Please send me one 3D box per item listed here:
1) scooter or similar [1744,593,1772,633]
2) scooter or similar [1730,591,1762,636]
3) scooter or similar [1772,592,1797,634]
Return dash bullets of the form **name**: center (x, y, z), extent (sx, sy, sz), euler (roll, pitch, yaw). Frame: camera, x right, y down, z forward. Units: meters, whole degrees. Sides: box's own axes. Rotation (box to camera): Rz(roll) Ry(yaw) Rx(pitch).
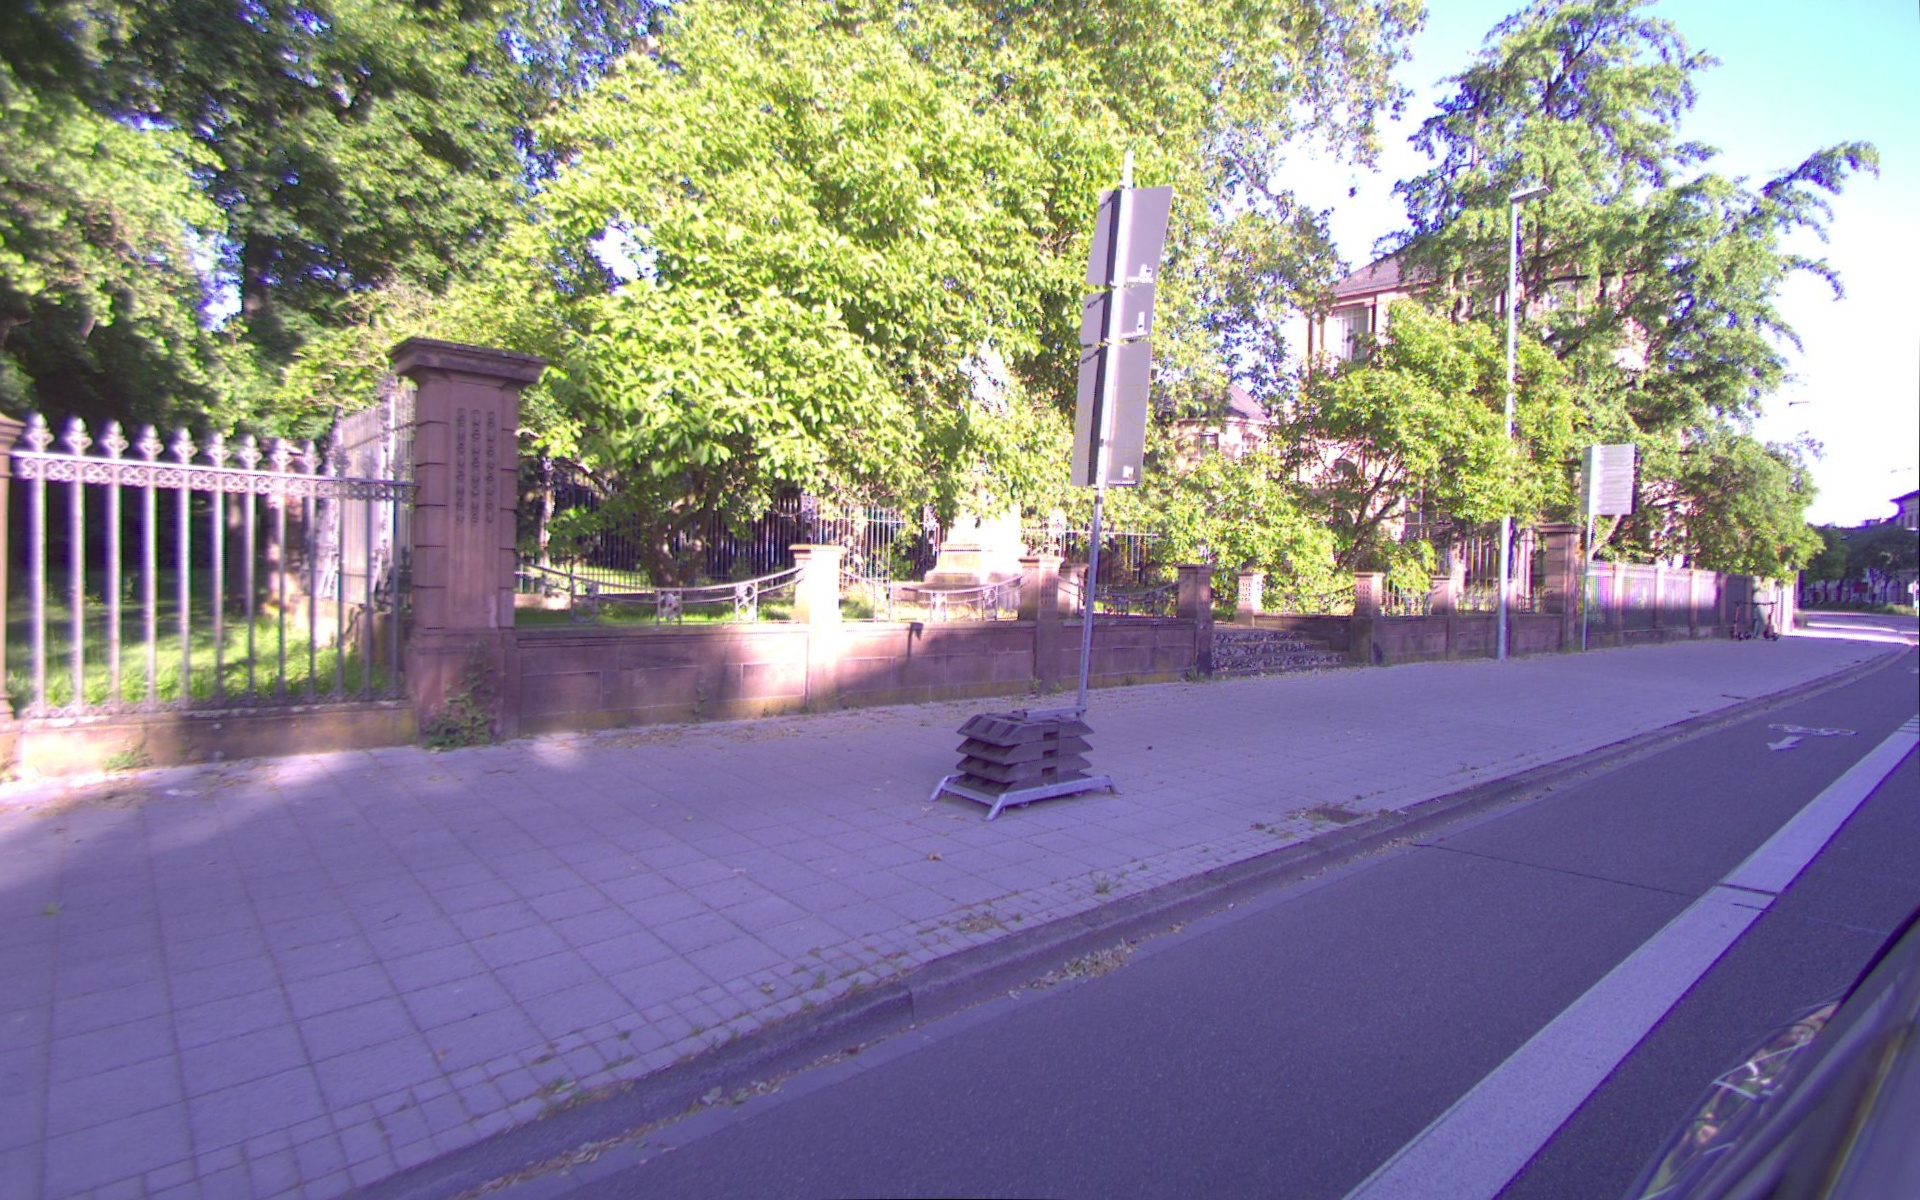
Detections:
- **scooter or similar**: center (24.966, 0.395, 31.659), extent (0.574, 1.199, 1.466), euler (3, 2, 41)
- **scooter or similar**: center (23.620, 0.388, 30.433), extent (0.572, 1.269, 1.470), euler (3, 2, 33)
- **scooter or similar**: center (26.066, 0.402, 32.010), extent (0.514, 1.255, 1.502), euler (3, 2, 37)
